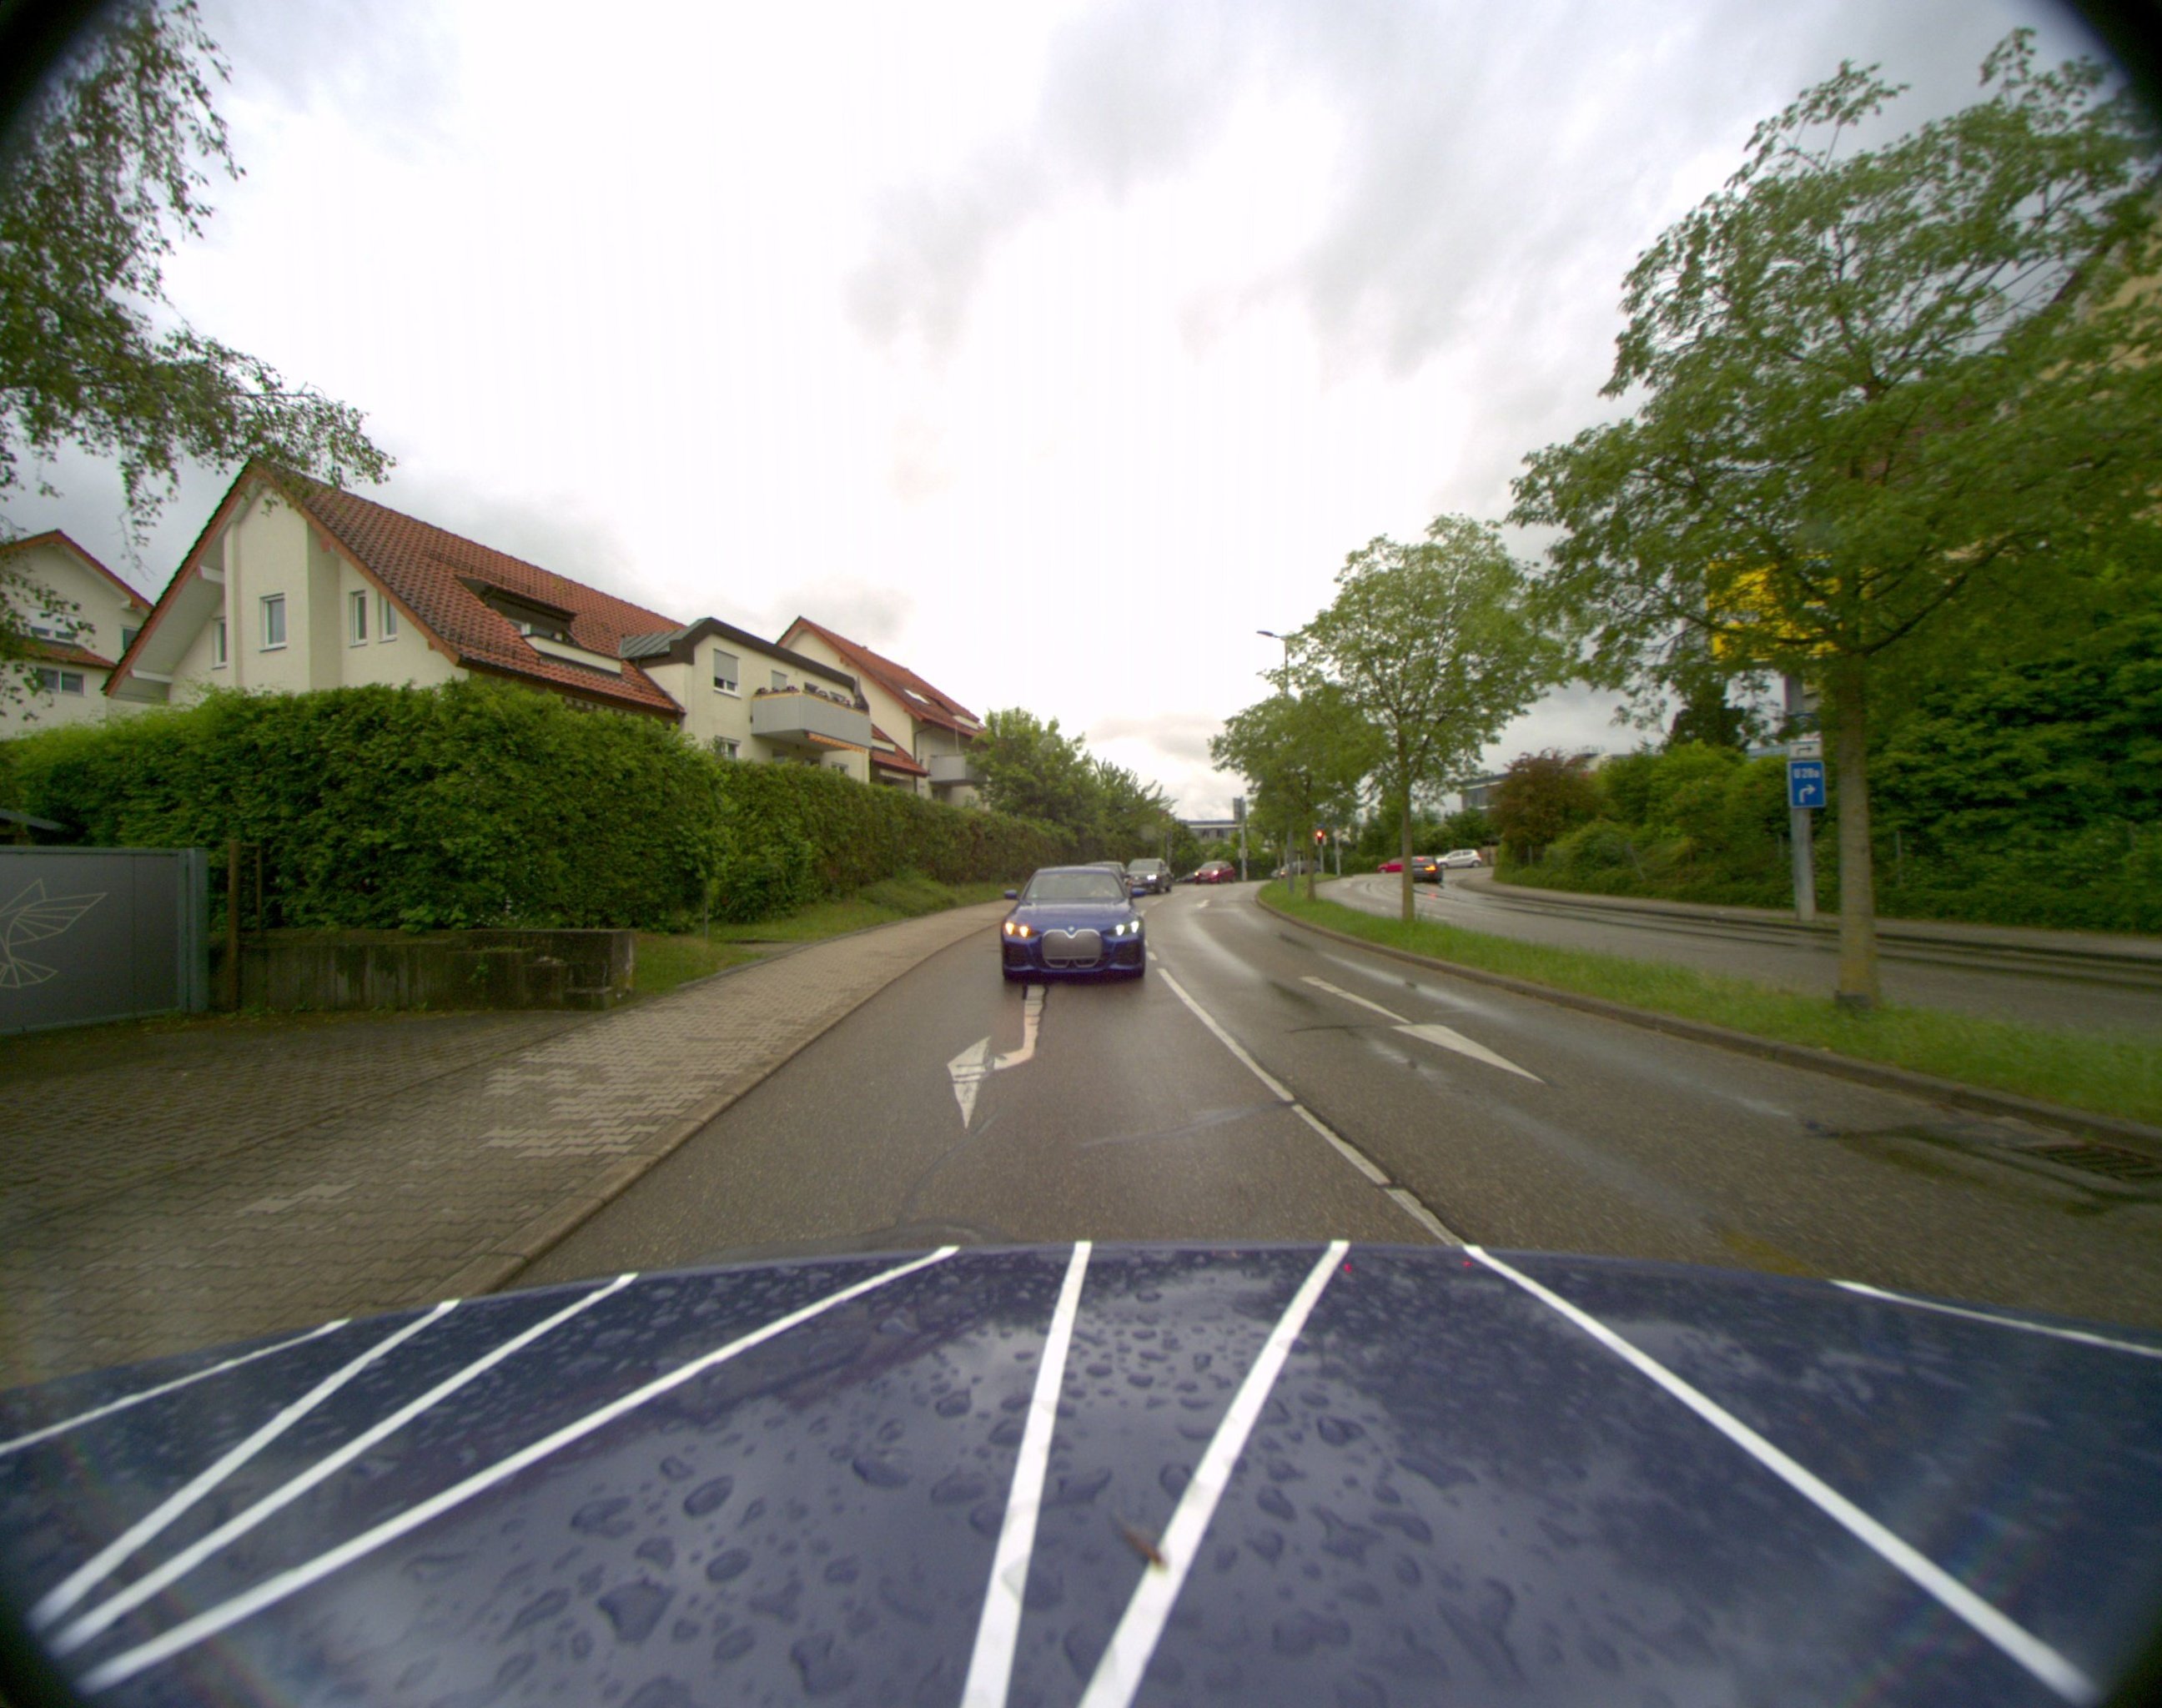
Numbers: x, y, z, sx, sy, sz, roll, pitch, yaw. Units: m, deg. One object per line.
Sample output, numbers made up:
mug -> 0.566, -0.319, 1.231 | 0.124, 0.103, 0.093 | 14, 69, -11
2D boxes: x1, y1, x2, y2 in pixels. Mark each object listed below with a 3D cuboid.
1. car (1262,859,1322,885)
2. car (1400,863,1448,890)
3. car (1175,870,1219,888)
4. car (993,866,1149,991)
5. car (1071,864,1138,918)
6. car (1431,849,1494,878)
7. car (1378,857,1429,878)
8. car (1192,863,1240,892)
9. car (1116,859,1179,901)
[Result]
car -> 16.146, 1.365, 58.147 | 4.003, 1.715, 1.867 | -2, -3, -19
car -> 19.474, 1.264, 43.075 | 1.994, 1.429, 4.558 | 0, -1, 30
car -> 12.111, 2.604, 79.423 | 3.989, 1.660, 2.004 | -2, 0, 32
car -> -0.158, 0.962, 11.668 | 1.913, 1.487, 4.348 | -1, 0, -1
car -> 0.851, 1.217, 24.892 | 1.745, 1.509, 4.004 | -4, -3, 7
car -> 29.903, 0.762, 59.664 | 3.993, 1.913, 1.916 | -4, -3, 15
car -> 29.316, 1.226, 69.031 | 4.100, 1.813, 2.004 | -2, -2, 25
car -> 8.936, 1.534, 50.070 | 1.865, 1.715, 4.008 | -5, -4, 28
car -> 3.180, 1.231, 35.704 | 1.965, 1.738, 4.315 | -4, -3, 17
